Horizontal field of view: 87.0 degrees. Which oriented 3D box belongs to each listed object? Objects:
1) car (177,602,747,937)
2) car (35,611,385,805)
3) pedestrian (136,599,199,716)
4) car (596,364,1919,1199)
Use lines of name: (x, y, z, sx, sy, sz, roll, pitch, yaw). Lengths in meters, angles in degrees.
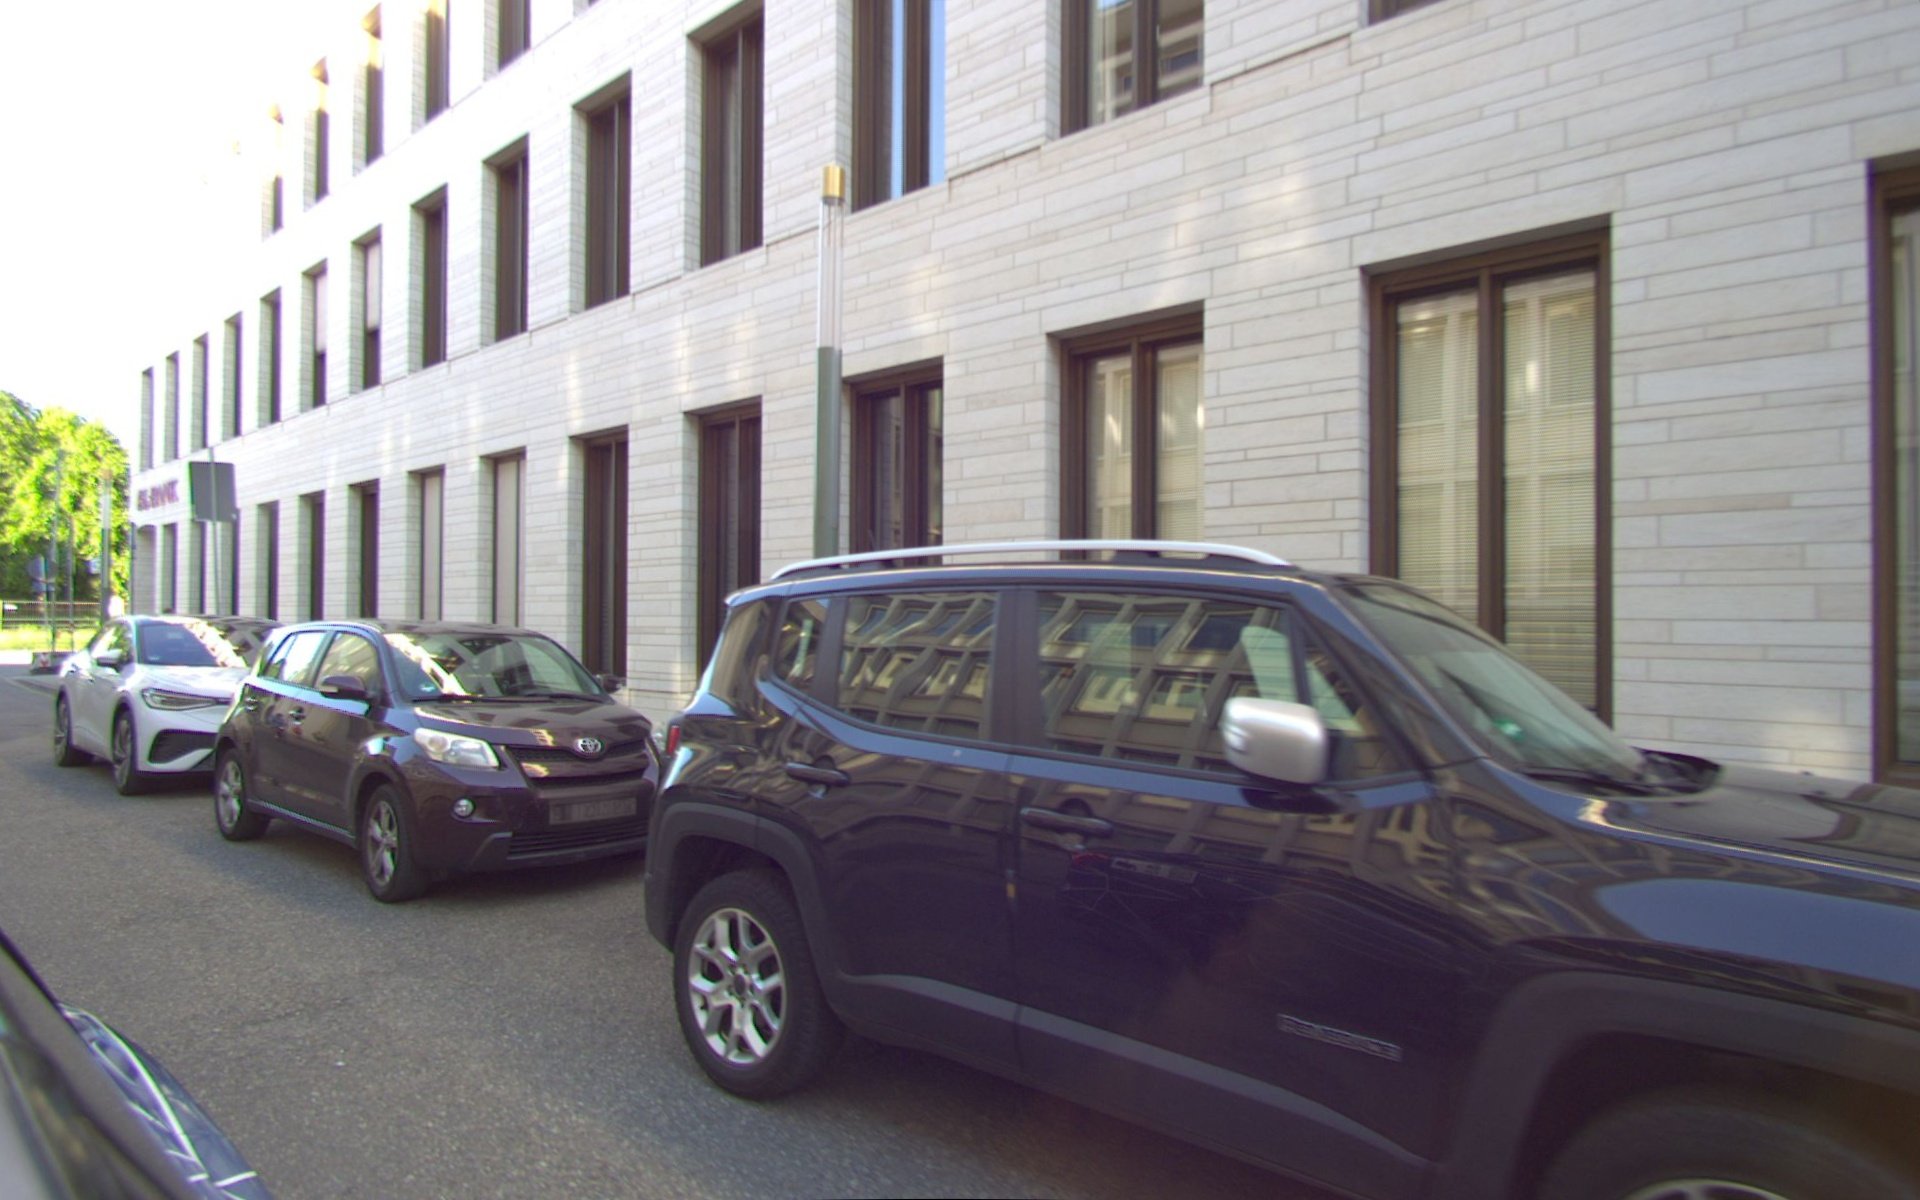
car: (-3.502, 0.845, 6.766, 4.259, 1.553, 1.804, -1, -2, 39)
car: (-7.720, 0.947, 10.253, 4.442, 1.553, 1.804, -2, -3, 40)
pedestrian: (-12.646, 0.893, 16.148, 0.816, 1.803, 0.637, 0, 0, 40)
car: (0.899, 0.602, 2.916, 4.013, 1.728, 1.804, -1, -4, 39)
